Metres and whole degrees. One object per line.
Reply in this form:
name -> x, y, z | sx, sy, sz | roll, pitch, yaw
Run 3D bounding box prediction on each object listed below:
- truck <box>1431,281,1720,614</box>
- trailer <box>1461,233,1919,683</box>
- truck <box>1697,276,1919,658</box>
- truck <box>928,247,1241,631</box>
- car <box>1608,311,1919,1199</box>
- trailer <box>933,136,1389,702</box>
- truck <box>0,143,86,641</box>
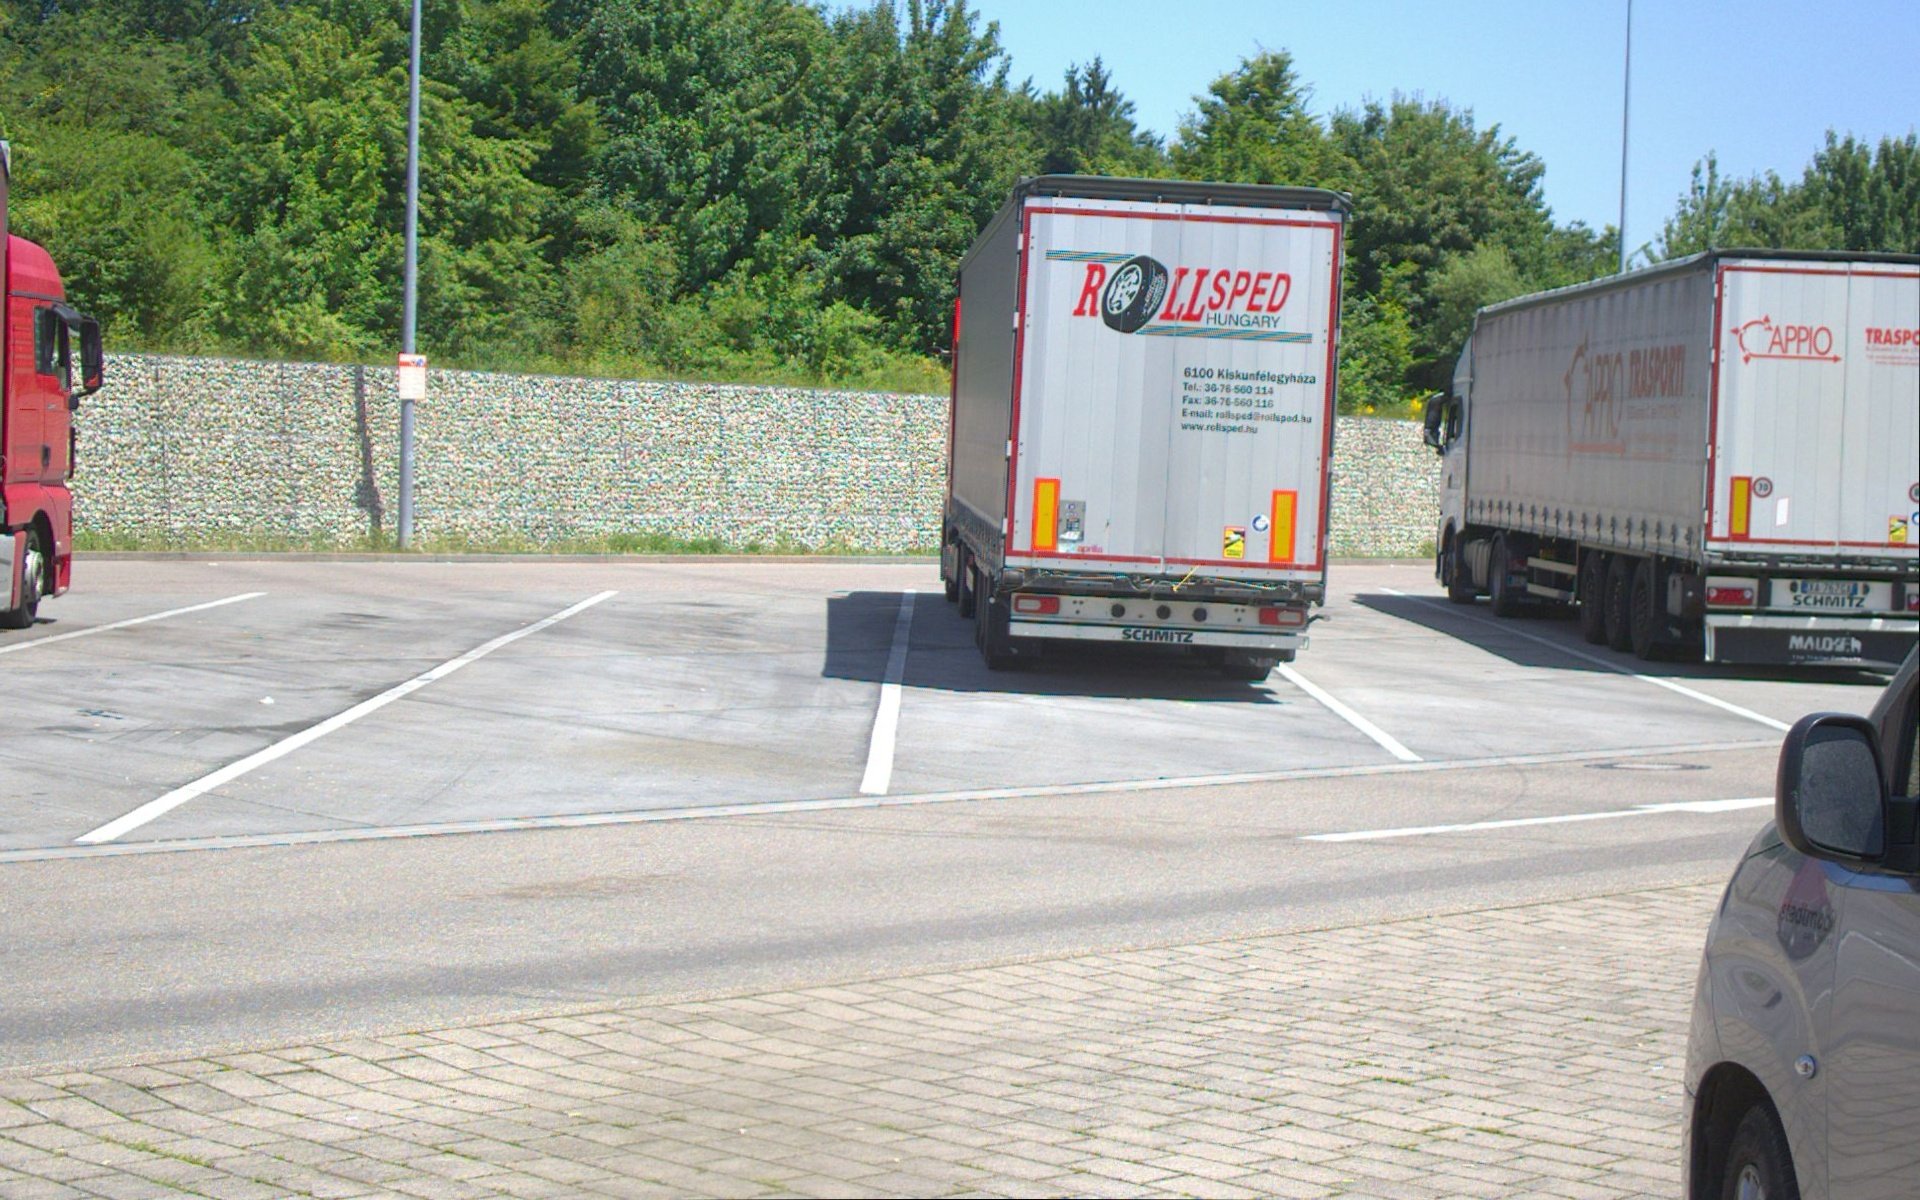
truck -> 8.030, -1.985, 45.464 | 2.757, 4.110, 5.285 | 1, 2, -1
trailer -> 8.143, -1.533, 38.469 | 2.876, 4.110, 13.572 | 1, 2, -1
truck -> 11.733, -1.471, 39.801 | 2.904, 4.110, 14.528 | 3, 2, -1
truck -> 1.266, -1.851, 39.400 | 3.026, 3.915, 6.847 | 2, 3, -2
car -> 2.138, 0.542, 3.789 | 1.825, 1.747, 4.001 | 1, 2, -4
trailer -> 1.481, -1.693, 32.632 | 3.069, 4.213, 12.810 | 2, 3, -2
truck -> -9.229, -1.697, 27.650 | 2.743, 4.067, 6.830 | 1, 2, -1
